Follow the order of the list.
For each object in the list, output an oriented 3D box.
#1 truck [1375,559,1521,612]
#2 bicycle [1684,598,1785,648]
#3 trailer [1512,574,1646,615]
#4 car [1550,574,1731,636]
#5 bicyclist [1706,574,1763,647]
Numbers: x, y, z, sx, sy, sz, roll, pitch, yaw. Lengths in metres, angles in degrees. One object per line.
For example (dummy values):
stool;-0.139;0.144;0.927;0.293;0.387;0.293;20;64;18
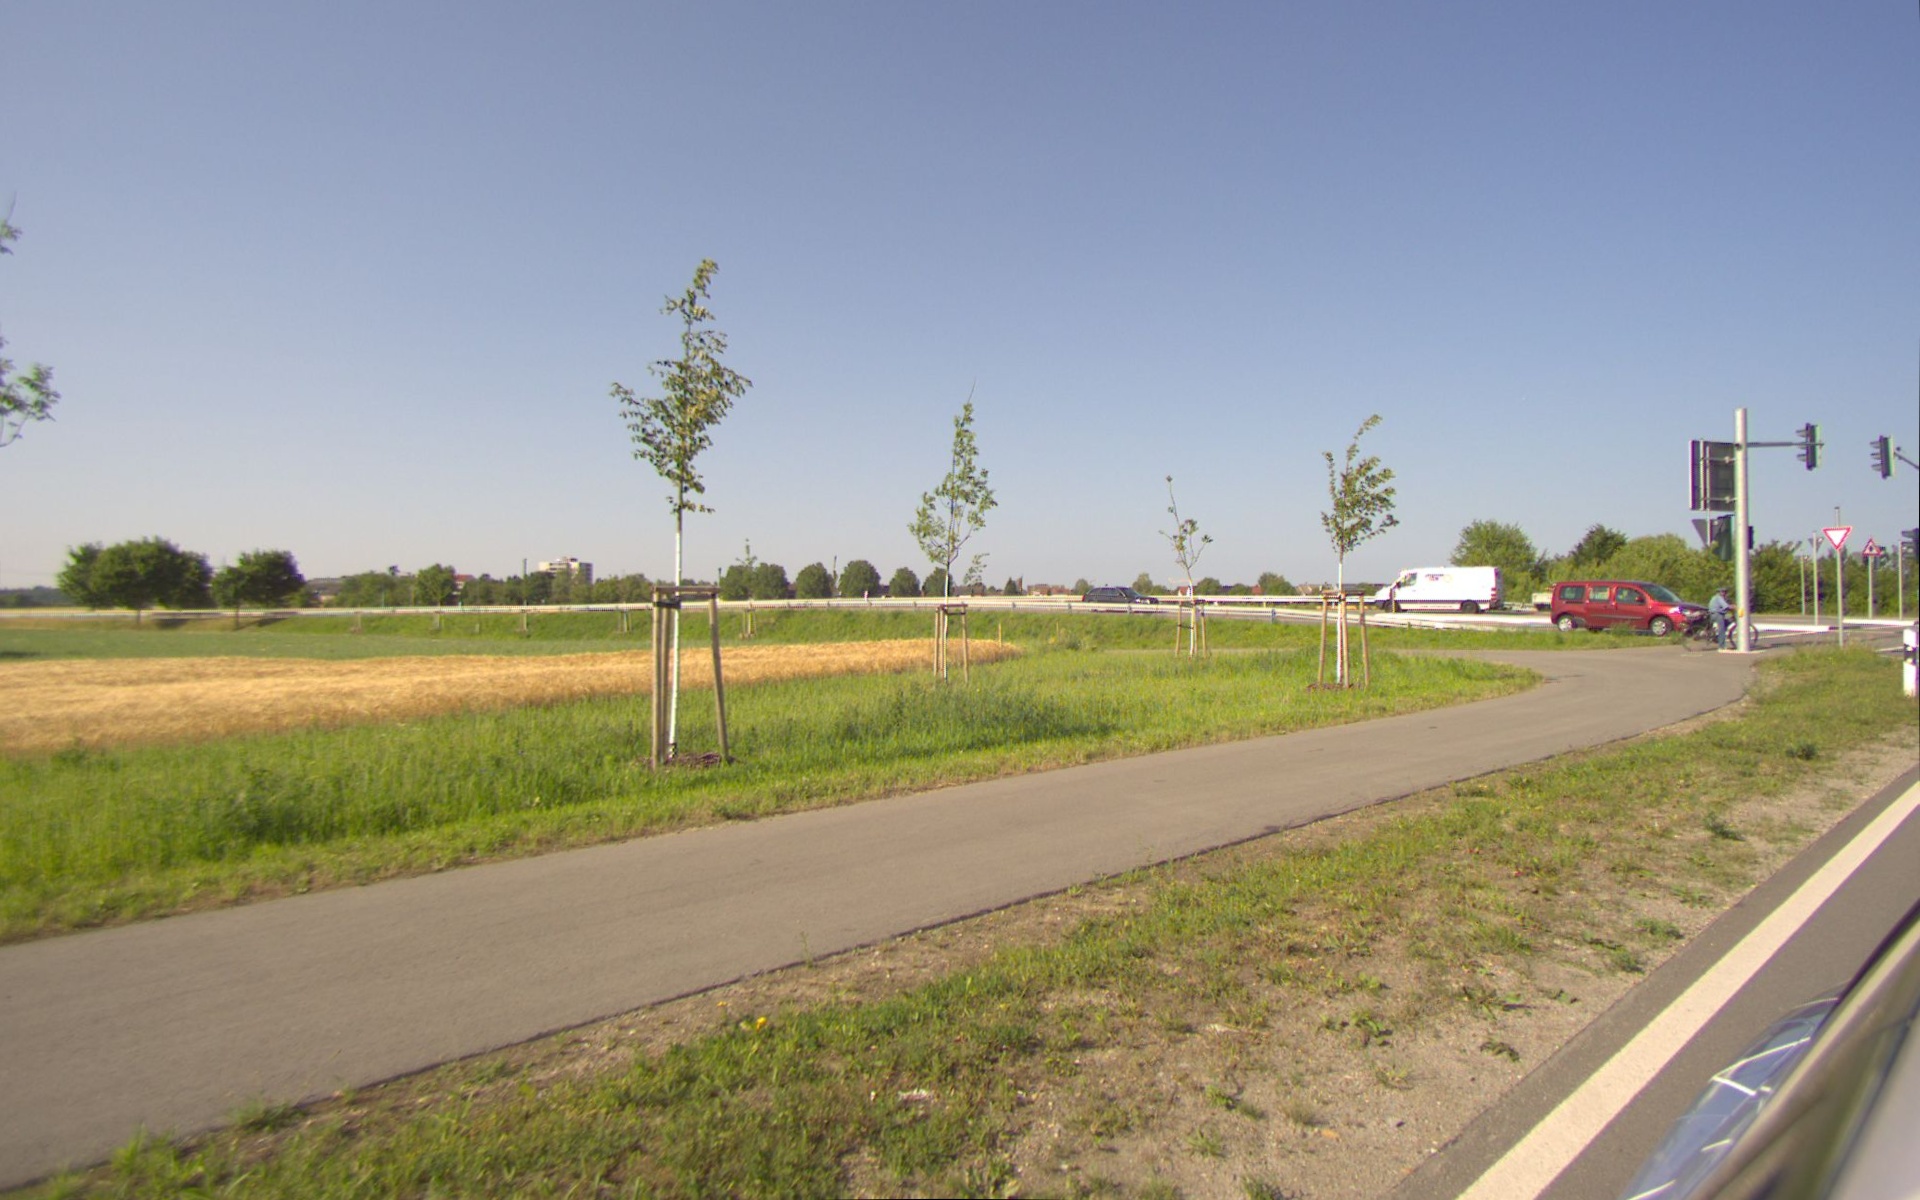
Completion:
truck;23.917;-0.731;49.757;6.171;2.434;2.041;1;1;41
bicycle;19.890;0.585;26.028;1.914;1.165;0.679;-3;1;10
trailer;28.091;-0.303;46.035;4.990;1.759;1.952;1;2;41
car;22.136;0.136;33.152;1.659;1.860;4.706;-1;0;-26
bicyclist;19.890;0.266;26.007;0.903;1.787;0.618;-3;1;10
